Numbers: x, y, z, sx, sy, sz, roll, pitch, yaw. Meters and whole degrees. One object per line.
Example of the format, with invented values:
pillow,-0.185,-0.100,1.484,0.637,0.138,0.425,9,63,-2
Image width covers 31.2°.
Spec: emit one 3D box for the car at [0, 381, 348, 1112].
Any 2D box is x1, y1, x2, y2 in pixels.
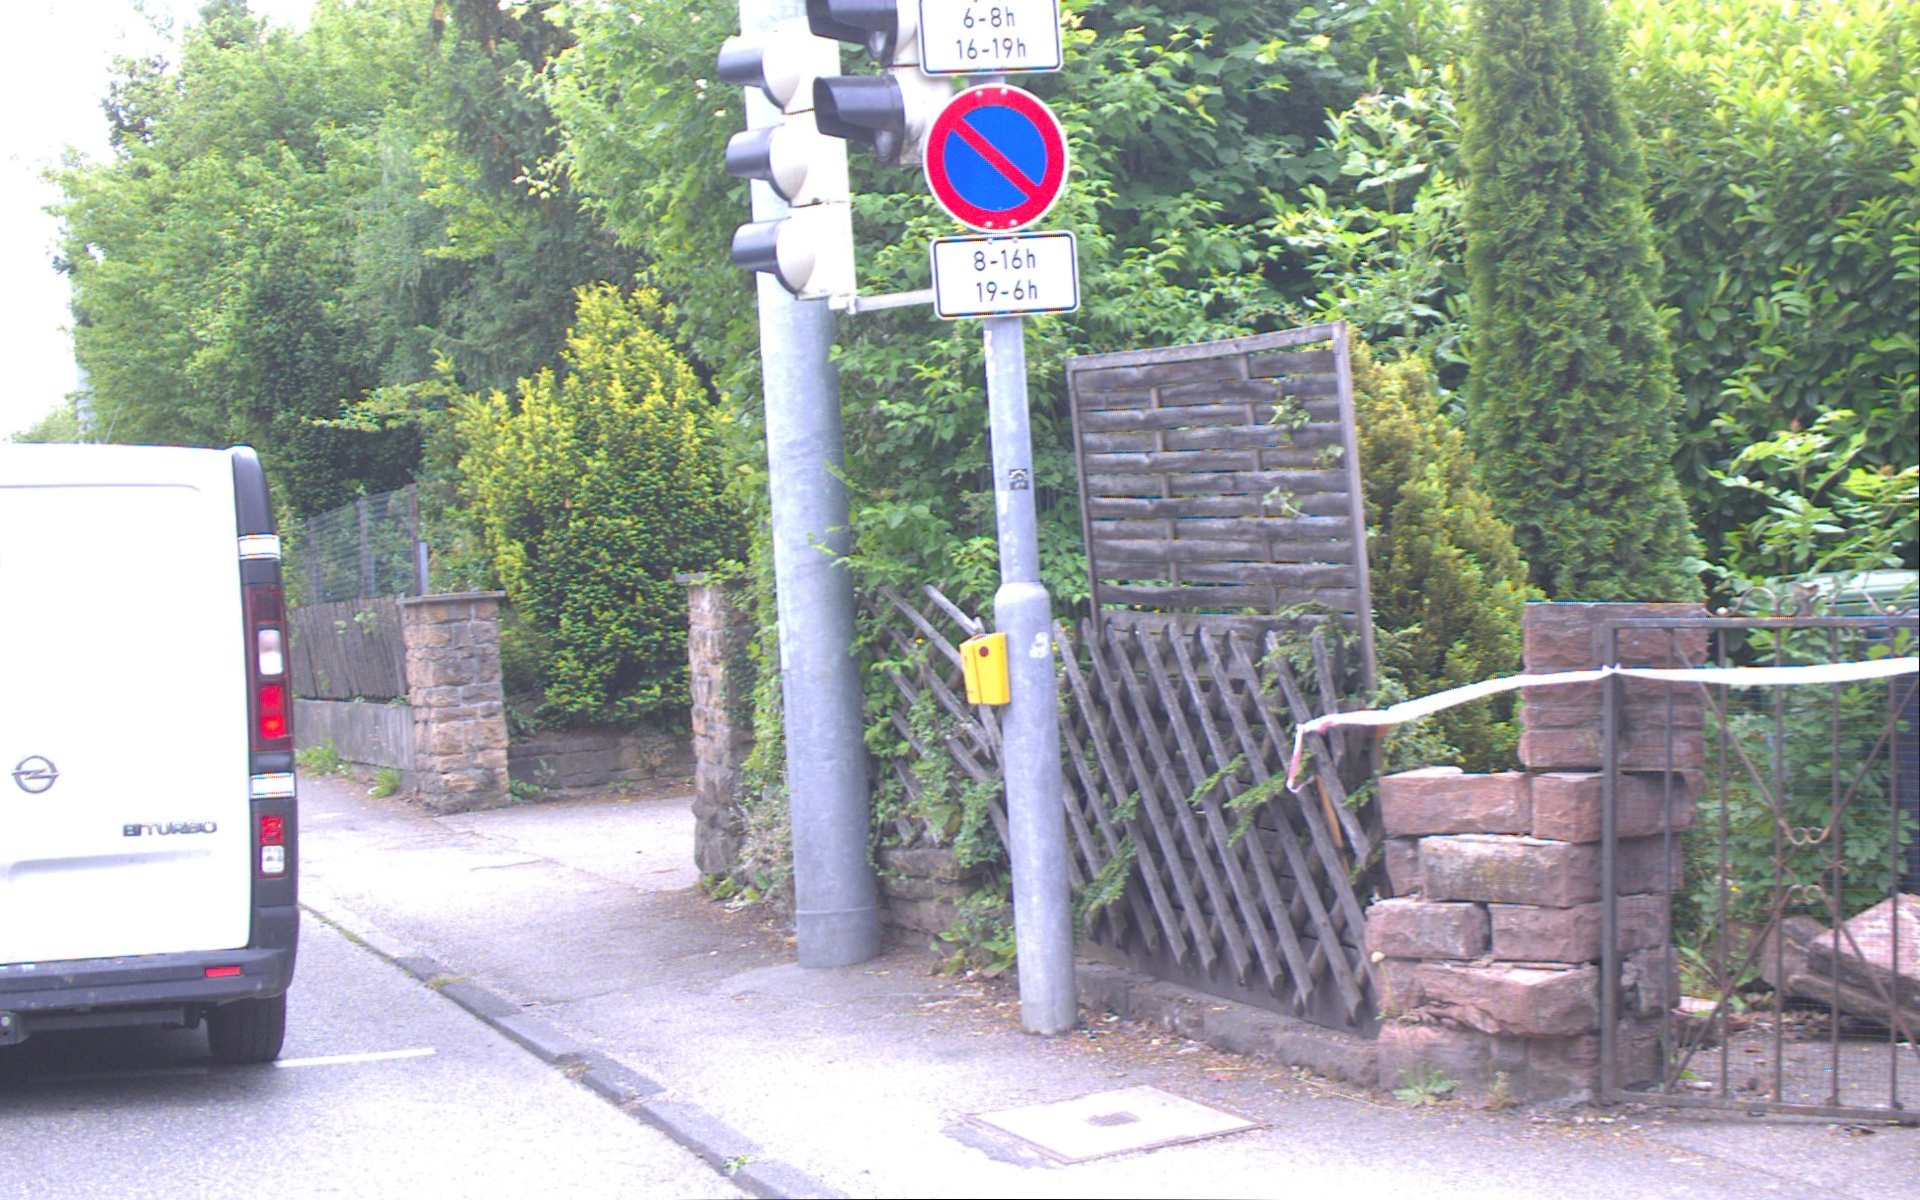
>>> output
car,-3.500,0.422,11.915,2.006,2.031,5.011,-1,0,-18
